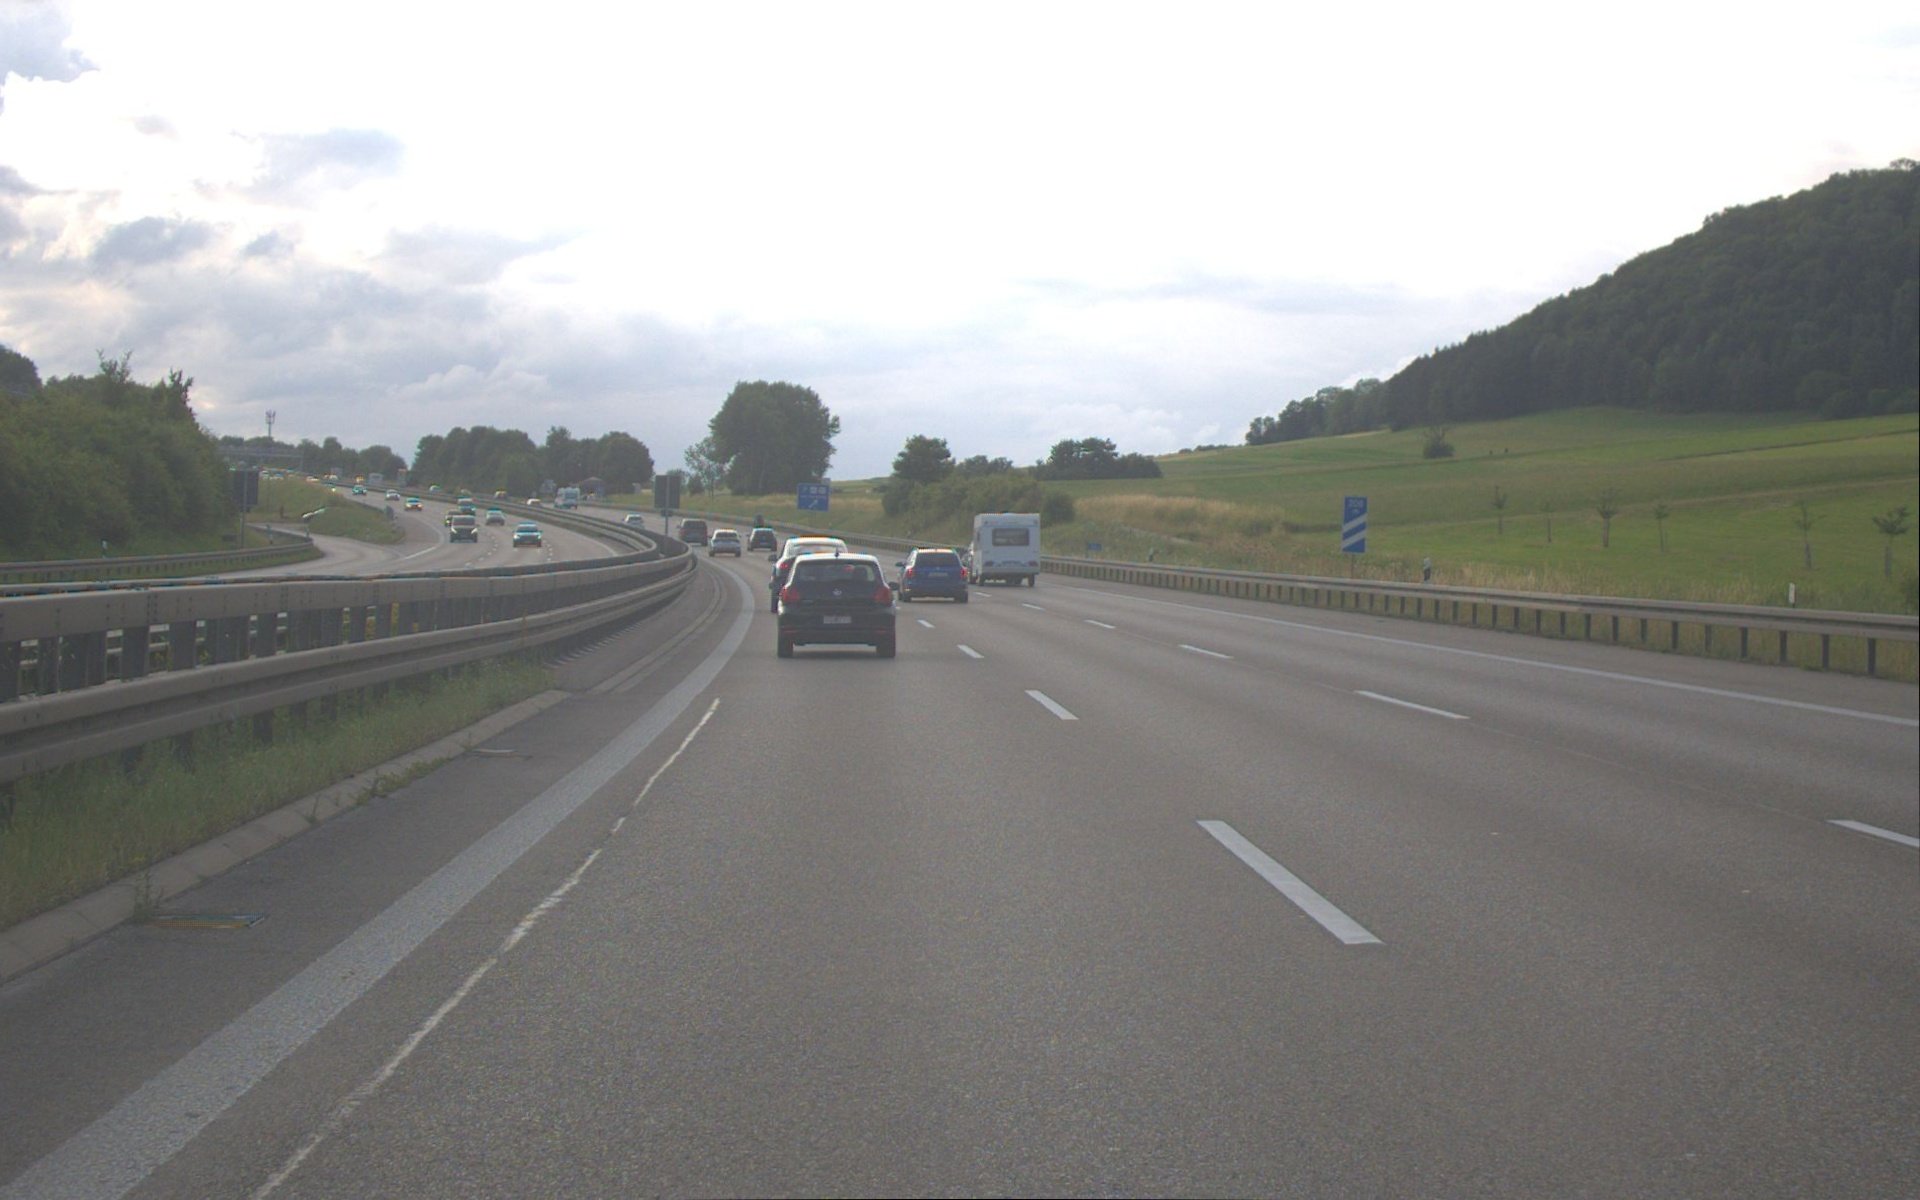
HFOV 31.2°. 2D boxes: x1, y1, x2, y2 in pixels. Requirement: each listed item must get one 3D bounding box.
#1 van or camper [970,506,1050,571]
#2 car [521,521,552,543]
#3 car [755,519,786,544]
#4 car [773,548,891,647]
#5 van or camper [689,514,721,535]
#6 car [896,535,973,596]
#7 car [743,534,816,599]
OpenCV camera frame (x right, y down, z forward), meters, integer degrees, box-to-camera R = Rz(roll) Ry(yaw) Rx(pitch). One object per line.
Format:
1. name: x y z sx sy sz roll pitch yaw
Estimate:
1. van or camper: 1.710 -2.169 120.654 2.547 2.231 5.330 0 1 -2
2. car: -27.945 -4.494 227.078 1.993 1.425 4.588 1 1 -6
3. car: -12.255 -4.432 222.784 1.957 1.568 4.001 0 1 -3
4. car: -1.856 -0.064 49.020 1.538 1.343 3.677 0 1 -4
5. van or camper: -17.771 -5.290 240.121 1.966 1.428 4.000 1 1 -1
6. car: -0.713 -0.908 92.498 1.767 1.428 4.000 5 -1 -3
7. car: -3.998 -0.765 76.251 1.565 1.375 4.001 0 1 -3
